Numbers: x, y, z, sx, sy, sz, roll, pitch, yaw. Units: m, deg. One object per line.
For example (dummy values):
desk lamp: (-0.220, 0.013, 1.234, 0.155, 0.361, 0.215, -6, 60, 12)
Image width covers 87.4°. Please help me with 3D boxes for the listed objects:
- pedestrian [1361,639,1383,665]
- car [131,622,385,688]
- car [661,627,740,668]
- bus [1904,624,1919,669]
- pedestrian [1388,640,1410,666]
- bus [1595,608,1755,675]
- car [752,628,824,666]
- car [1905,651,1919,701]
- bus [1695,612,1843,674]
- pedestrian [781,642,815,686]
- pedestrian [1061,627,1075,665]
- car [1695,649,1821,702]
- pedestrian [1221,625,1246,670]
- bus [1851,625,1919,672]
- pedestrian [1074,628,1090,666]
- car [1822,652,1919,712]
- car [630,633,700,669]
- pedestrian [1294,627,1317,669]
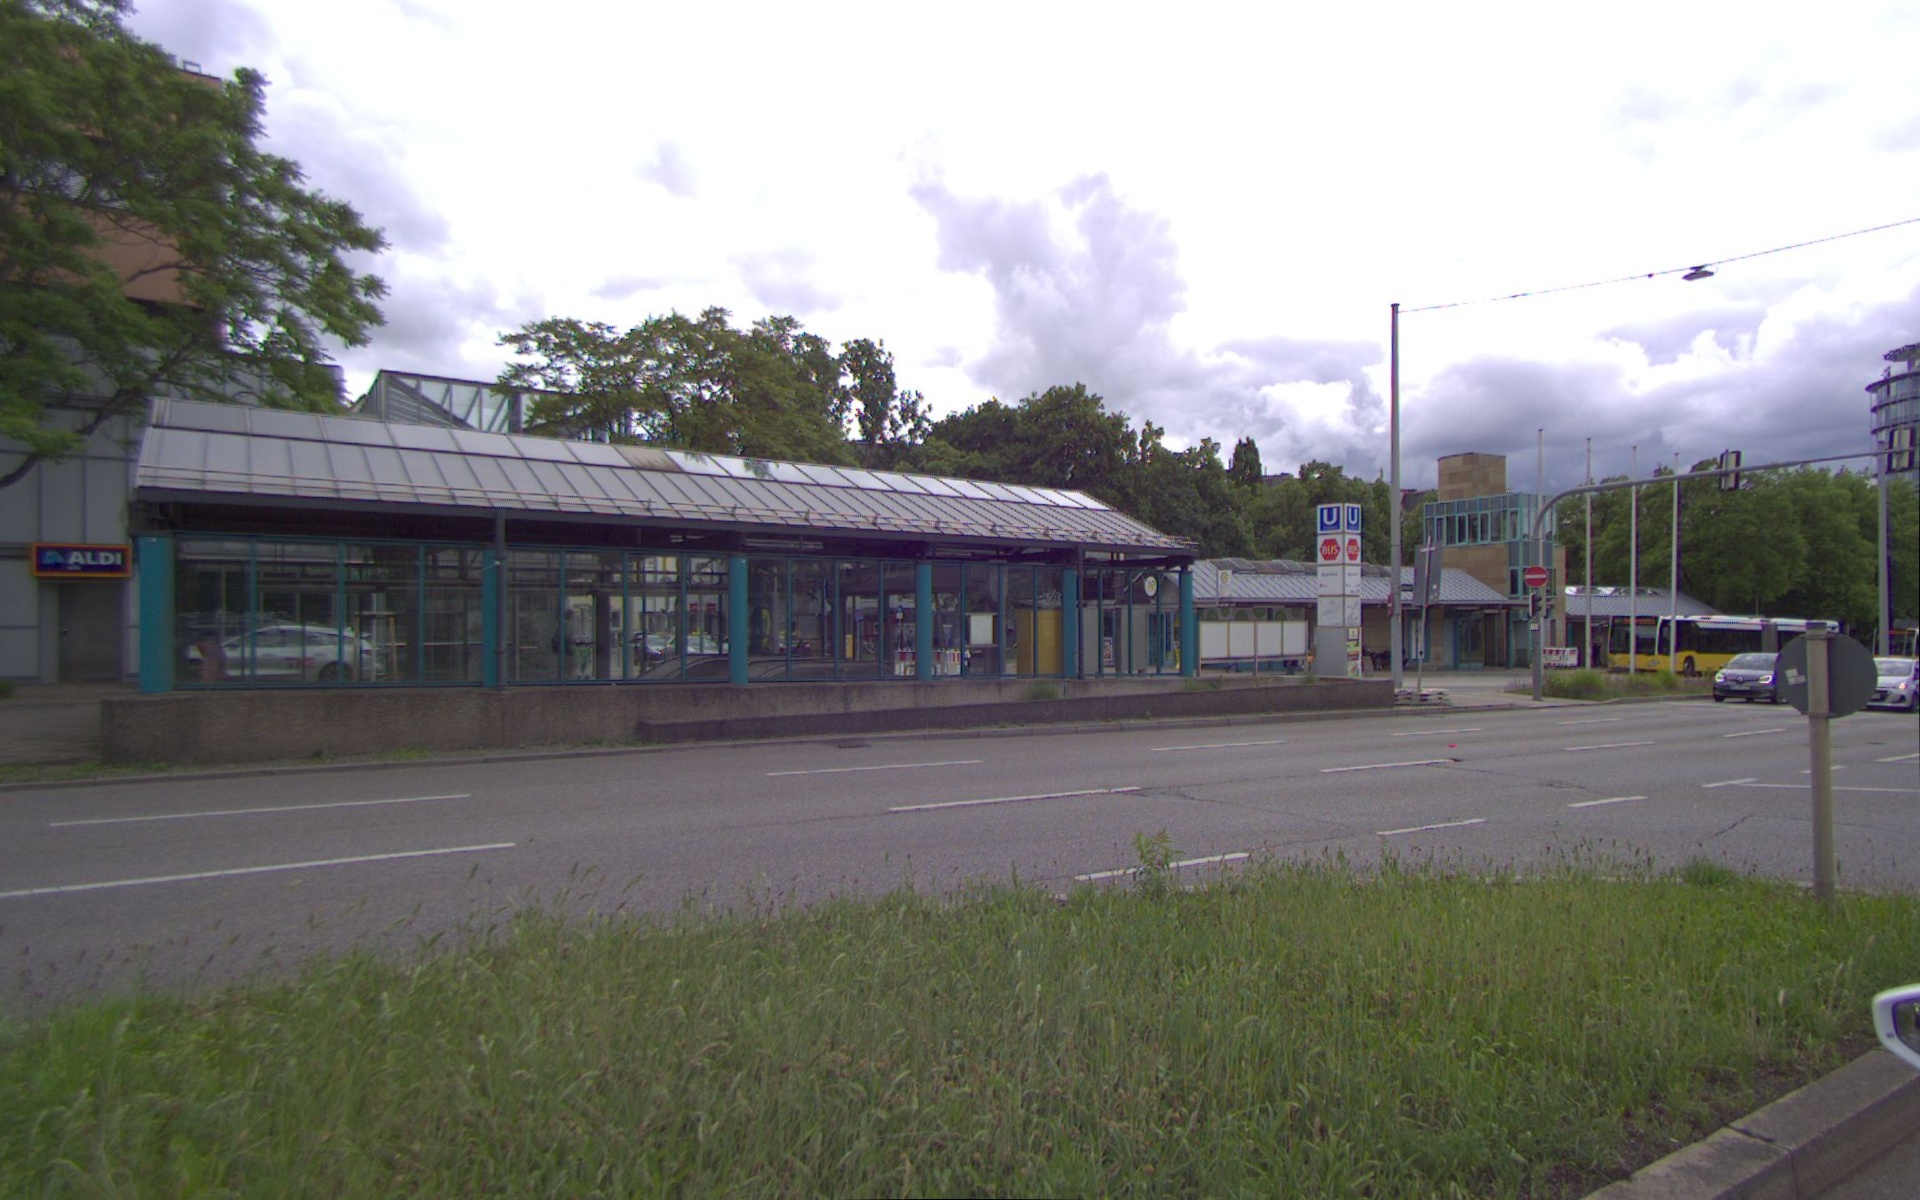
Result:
pedestrian: (18.011, 2.268, 43.932, 0.650, 1.135, 0.617, 2, -2, -30)
car: (-16.163, 1.272, 23.469, 4.665, 1.418, 1.681, 2, -2, -30)
car: (-11.148, 2.019, 43.035, 1.981, 1.617, 3.960, 2, -2, -35)
bus: (79.601, 3.821, 80.623, 9.797, 3.501, 3.016, 2, 0, -31)
pedestrian: (19.426, 2.347, 44.457, 0.650, 1.135, 0.617, 2, -2, -30)
bus: (36.967, 2.110, 51.805, 9.319, 3.174, 2.765, 2, 0, -28)
car: (-8.687, 2.339, 50.430, 1.981, 1.706, 3.959, 2, 0, -36)
car: (31.319, 2.402, 31.542, 3.730, 1.528, 1.648, 3, -2, -34)
bus: (45.194, 2.389, 56.027, 9.177, 3.174, 2.800, 2, 0, -26)
pedestrian: (-5.544, 2.172, 34.341, 0.981, 1.480, 0.587, 2, -1, -31)
pedestrian: (4.471, 1.896, 41.641, 0.475, 1.568, 0.384, 1, -1, 14)
car: (25.151, 2.351, 31.634, 3.953, 1.528, 1.807, 2, -2, -30)
pedestrian: (10.324, 1.803, 37.937, 0.650, 1.671, 0.617, 2, -2, -30)
bus: (70.840, 3.617, 75.285, 10.616, 3.205, 3.067, 2, 0, -32)
pedestrian: (5.027, 1.928, 41.351, 0.520, 1.568, 0.754, 1, -1, 14)
car: (26.332, 2.276, 28.627, 3.750, 1.485, 1.735, 1, -1, -34)
car: (-14.163, 2.416, 48.115, 1.981, 1.617, 3.960, 2, -2, -35)
pedestrian: (14.081, 1.961, 40.961, 0.650, 1.671, 0.617, 2, -2, -30)
